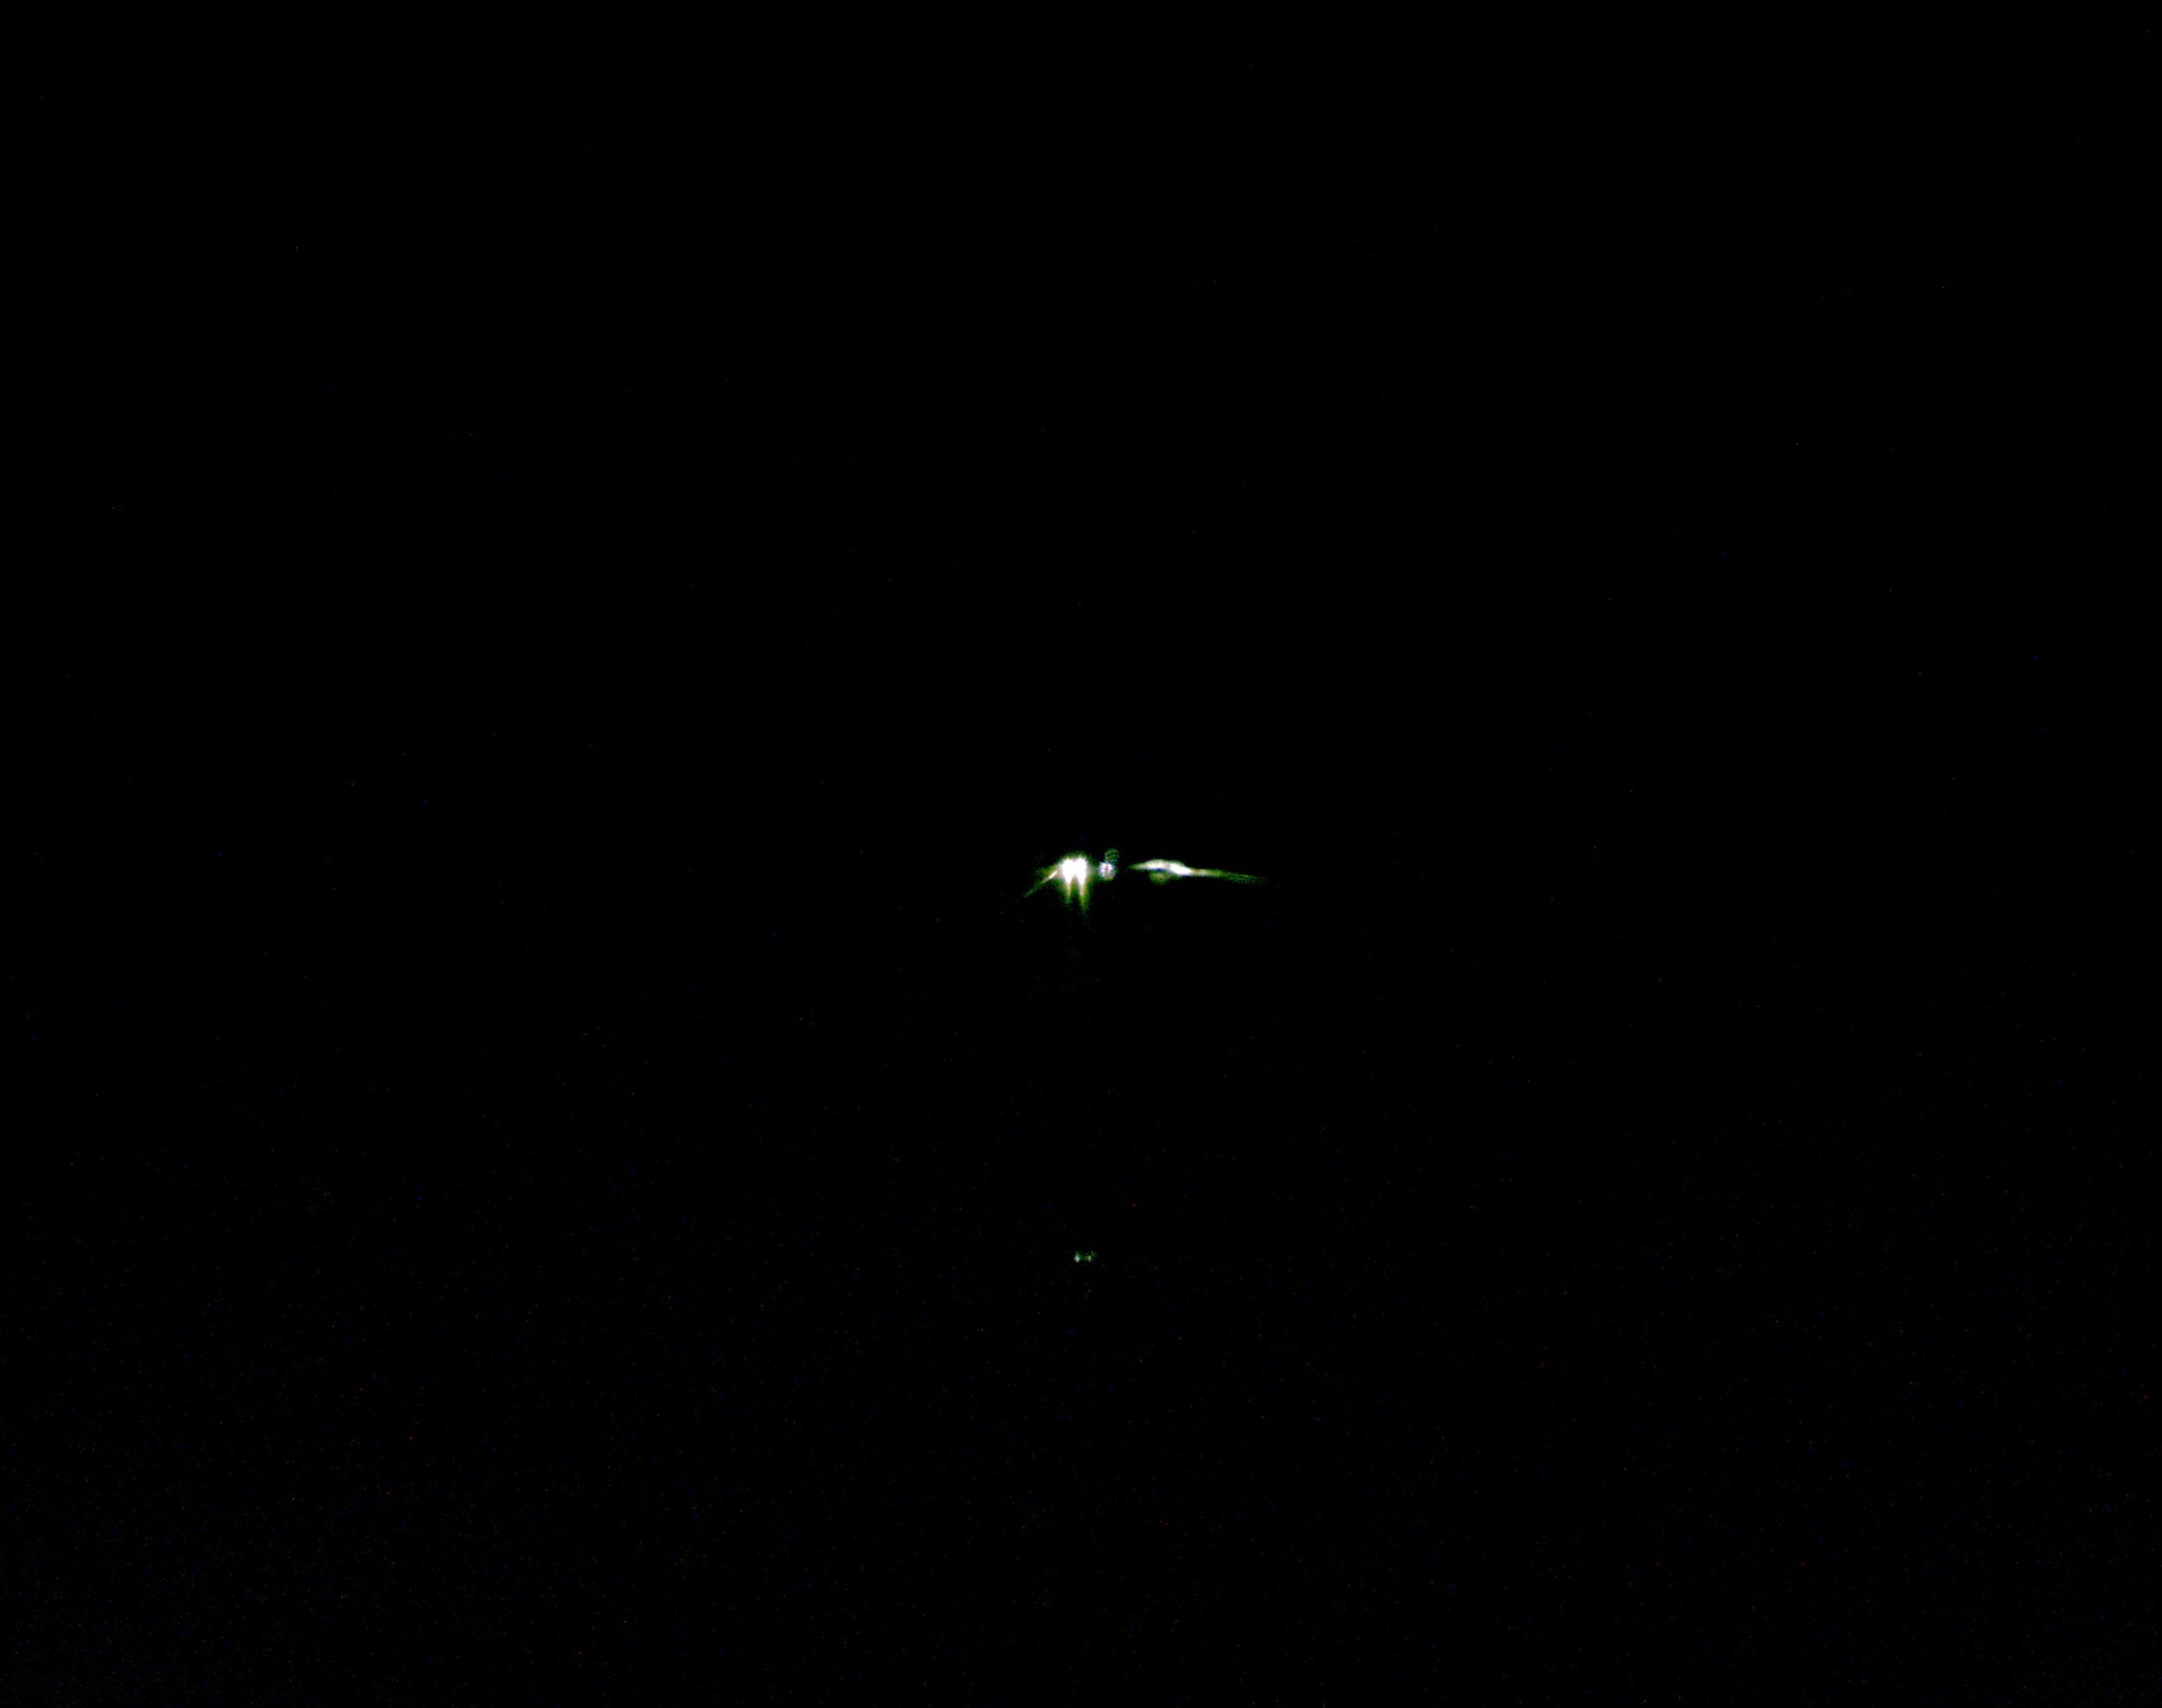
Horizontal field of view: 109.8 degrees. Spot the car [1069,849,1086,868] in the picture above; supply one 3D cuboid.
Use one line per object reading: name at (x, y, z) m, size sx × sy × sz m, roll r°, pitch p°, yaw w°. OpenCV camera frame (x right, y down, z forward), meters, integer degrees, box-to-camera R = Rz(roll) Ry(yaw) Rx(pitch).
car at (-0.415, 0.515, 94.222) m, size 1.998 × 2.003 × 3.998 m, roll -2°, pitch 3°, yaw 0°
